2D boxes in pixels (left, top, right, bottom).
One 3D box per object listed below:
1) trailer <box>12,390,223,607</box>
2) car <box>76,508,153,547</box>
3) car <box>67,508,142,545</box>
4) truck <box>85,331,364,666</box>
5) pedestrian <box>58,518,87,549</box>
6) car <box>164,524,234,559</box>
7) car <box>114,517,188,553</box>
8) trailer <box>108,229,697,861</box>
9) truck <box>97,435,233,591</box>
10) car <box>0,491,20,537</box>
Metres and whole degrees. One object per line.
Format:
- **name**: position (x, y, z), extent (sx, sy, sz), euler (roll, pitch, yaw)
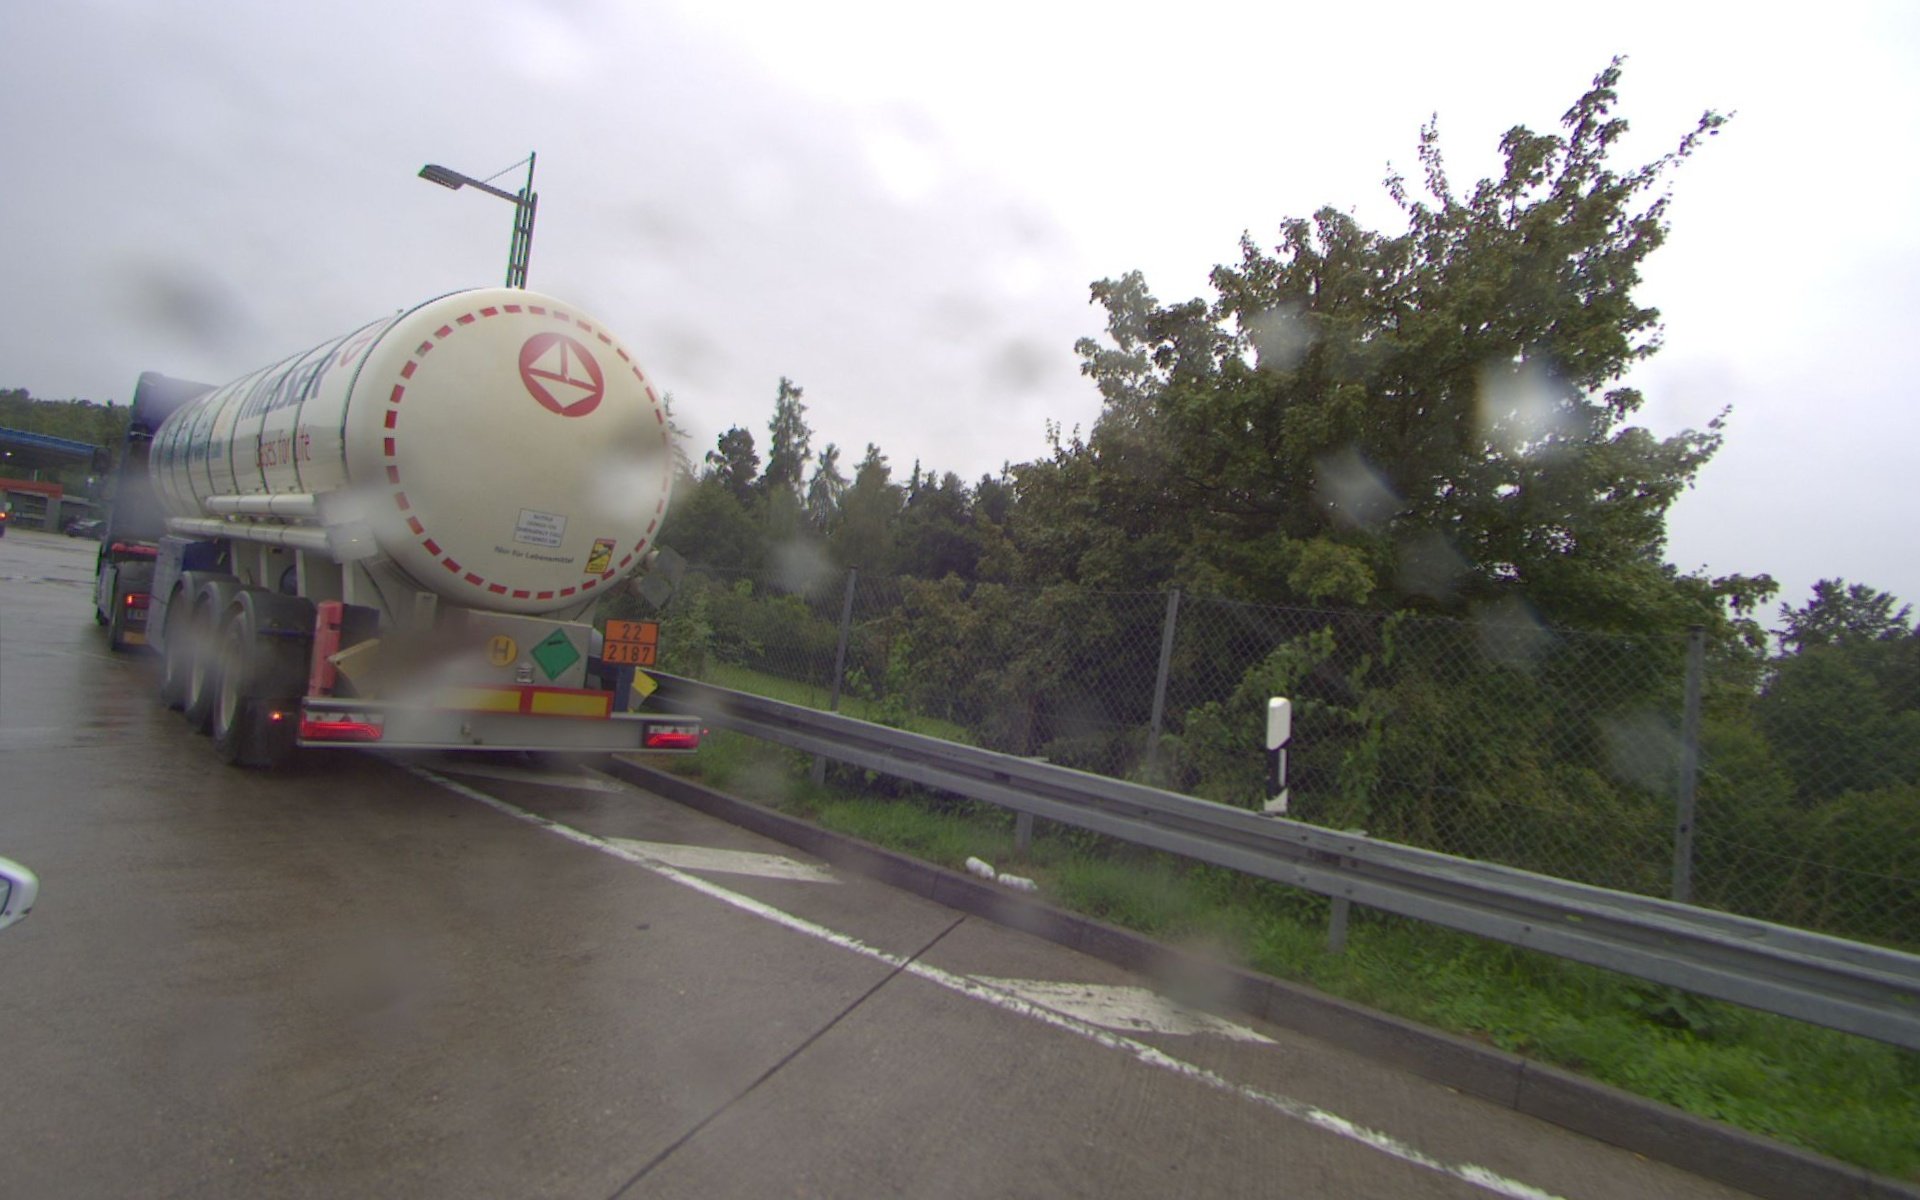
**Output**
- **trailer**: position (-17.944, -1.950, 22.031), extent (2.119, 3.480, 10.161), euler (8, -2, -34)
- **car**: position (-56.982, -4.844, 67.920), extent (2.087, 1.959, 4.183), euler (8, -2, -13)
- **car**: position (-59.478, -5.094, 70.028), extent (2.087, 1.959, 4.183), euler (8, -2, -13)
- **truck**: position (-10.063, -1.231, 13.590), extent (2.049, 3.571, 4.687), euler (9, -3, -44)
- **pedestrian**: position (-61.038, -4.559, 69.180), extent (0.944, 1.942, 1.084), euler (8, -1, -21)
- **car**: position (-50.262, -3.847, 66.535), extent (2.087, 1.747, 3.992), euler (8, -2, -13)
- **car**: position (-52.884, -4.242, 65.856), extent (2.087, 1.747, 3.992), euler (8, -2, -13)
- **trailer**: position (-6.133, -0.469, 9.511), extent (1.976, 3.261, 10.194), euler (9, -3, -44)
- **truck**: position (-21.275, -2.227, 27.131), extent (2.134, 3.553, 4.605), euler (8, -2, -34)
- **car**: position (-46.584, -4.252, 47.262), extent (3.930, 2.033, 2.003), euler (4, -6, 26)
